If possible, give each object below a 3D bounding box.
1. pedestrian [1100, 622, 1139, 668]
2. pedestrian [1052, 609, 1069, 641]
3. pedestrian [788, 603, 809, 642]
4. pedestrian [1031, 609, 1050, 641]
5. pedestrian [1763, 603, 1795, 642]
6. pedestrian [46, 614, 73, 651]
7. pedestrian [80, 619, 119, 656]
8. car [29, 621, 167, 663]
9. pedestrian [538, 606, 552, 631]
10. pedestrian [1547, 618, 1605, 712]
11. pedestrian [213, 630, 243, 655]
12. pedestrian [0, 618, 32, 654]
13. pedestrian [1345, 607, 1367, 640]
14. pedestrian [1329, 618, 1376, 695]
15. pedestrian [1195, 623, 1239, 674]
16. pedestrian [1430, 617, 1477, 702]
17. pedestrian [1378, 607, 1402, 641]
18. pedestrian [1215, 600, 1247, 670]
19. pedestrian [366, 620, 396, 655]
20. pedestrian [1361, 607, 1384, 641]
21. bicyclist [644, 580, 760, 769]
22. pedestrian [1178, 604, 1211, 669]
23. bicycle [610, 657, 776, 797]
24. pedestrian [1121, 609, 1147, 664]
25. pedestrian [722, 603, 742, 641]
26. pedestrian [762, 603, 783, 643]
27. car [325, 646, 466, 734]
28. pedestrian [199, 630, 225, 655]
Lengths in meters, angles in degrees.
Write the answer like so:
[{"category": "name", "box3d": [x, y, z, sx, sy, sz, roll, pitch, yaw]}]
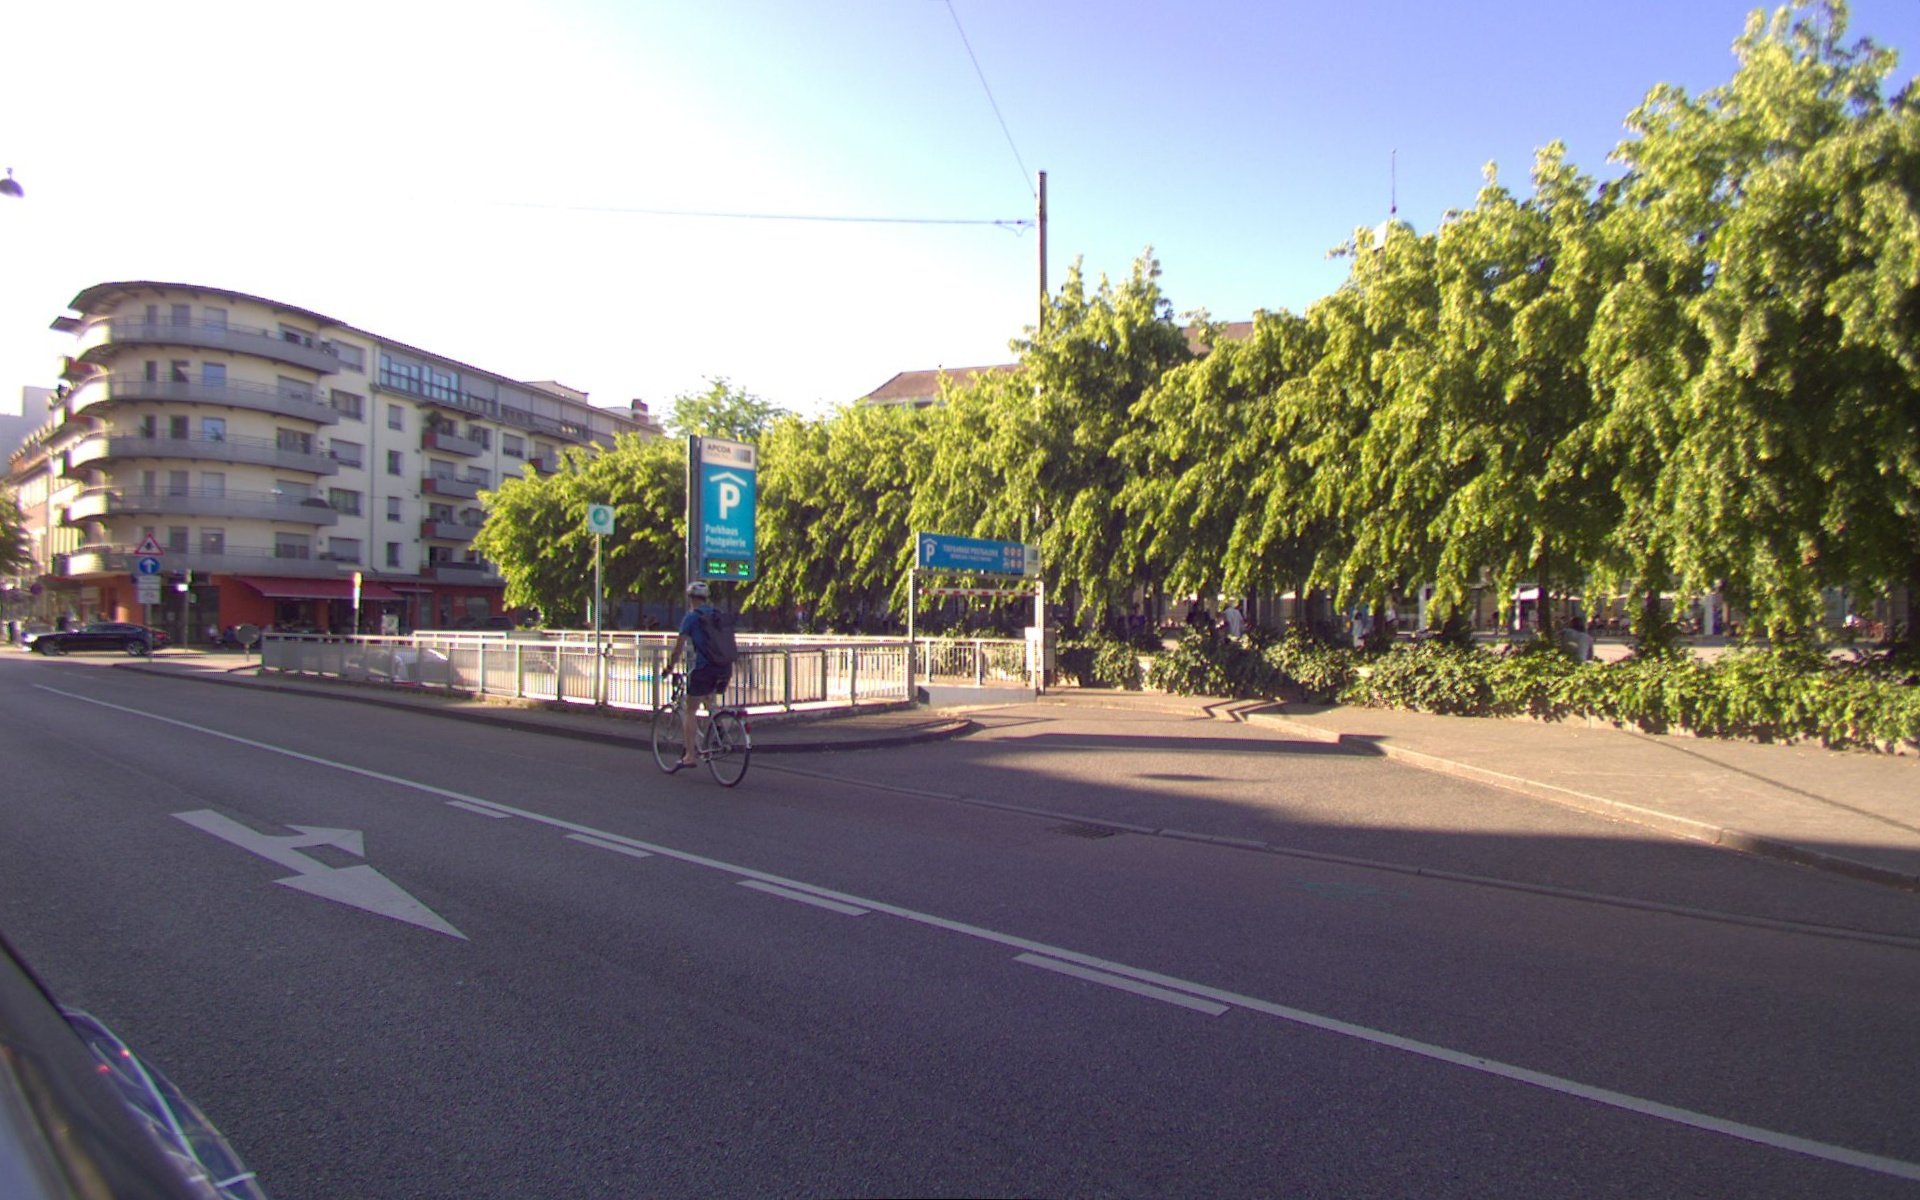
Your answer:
[{"category": "pedestrian", "box3d": [3.933, 1.095, 24.965, 0.682, 1.079, 0.686, -1, 0, -29]}, {"category": "pedestrian", "box3d": [4.460, 1.110, 44.831, 0.684, 1.385, 0.684, -1, 0, 1]}, {"category": "pedestrian", "box3d": [-7.930, 1.100, 49.716, 0.681, 1.857, 0.741, -1, 0, 27]}, {"category": "pedestrian", "box3d": [3.565, 1.122, 44.868, 0.752, 1.385, 0.684, -1, 0, 1]}, {"category": "pedestrian", "box3d": [32.849, 0.905, 40.606, 0.733, 1.542, 0.691, -1, 0, 12]}, {"category": "pedestrian", "box3d": [-48.745, 1.745, 54.776, 0.790, 1.934, 0.978, -1, 0, 37]}, {"category": "pedestrian", "box3d": [-42.046, 1.823, 49.461, 0.952, 1.762, 1.058, -1, 0, 10]}, {"category": "car", "box3d": [-35.406, 1.688, 41.713, 4.180, 1.542, 1.681, -1, 0, -36]}, {"category": "pedestrian", "box3d": [-31.101, 1.399, 75.873, 0.684, 1.857, 0.737, -1, 0, 41]}, {"category": "pedestrian", "box3d": [9.794, 1.016, 16.104, 0.611, 1.447, 0.588, -1, 0, 14]}, {"category": "pedestrian", "box3d": [-36.831, 2.128, 50.912, 0.827, 1.207, 0.931, -1, 0, 16]}, {"category": "pedestrian", "box3d": [-46.936, 1.769, 50.237, 1.078, 1.732, 1.057, -1, 0, 33]}, {"category": "pedestrian", "box3d": [18.506, 1.084, 47.325, 0.673, 1.535, 0.695, -1, 0, -7]}, {"category": "pedestrian", "box3d": [7.511, 1.064, 19.359, 0.622, 1.409, 0.644, -1, 0, 44]}, {"category": "pedestrian", "box3d": [5.672, 1.061, 22.333, 0.682, 1.079, 0.686, -1, 0, -13]}, {"category": "pedestrian", "box3d": [8.738, 1.029, 17.912, 0.621, 1.447, 0.645, -1, 0, 39]}, {"category": "pedestrian", "box3d": [19.542, 1.071, 45.999, 0.672, 1.536, 0.696, -1, 0, -19]}, {"category": "pedestrian", "box3d": [6.343, 0.806, 23.686, 0.524, 1.594, 0.676, -1, 0, 32]}, {"category": "pedestrian", "box3d": [-29.408, 1.901, 51.431, 1.250, 1.678, 1.143, -1, 0, -26]}, {"category": "pedestrian", "box3d": [19.030, 1.077, 46.658, 0.672, 1.542, 0.696, -1, 0, -18]}, {"category": "bicyclist", "box3d": [-2.487, 0.698, 9.760, 0.810, 1.722, 0.693, -1, -4, 42]}, {"category": "pedestrian", "box3d": [5.564, 0.858, 23.991, 0.688, 1.511, 0.680, -1, 0, 19]}, {"category": "bicycle", "box3d": [-2.636, 1.171, 9.847, 1.958, 1.171, 0.609, -1, -3, 44]}, {"category": "pedestrian", "box3d": [4.460, 0.935, 25.948, 0.545, 1.385, 0.680, -1, 0, 19]}, {"category": "pedestrian", "box3d": [-11.345, 1.107, 50.366, 0.679, 1.857, 0.743, -1, 0, 19]}, {"category": "pedestrian", "box3d": [-9.093, 1.105, 49.078, 0.681, 1.877, 0.741, -1, 0, 27]}, {"category": "car", "box3d": [-13.642, 2.088, 24.360, 3.904, 1.541, 1.617, 5, 3, 39]}, {"category": "pedestrian", "box3d": [-37.651, 2.139, 50.956, 0.882, 1.207, 0.772, -1, 0, 30]}]
